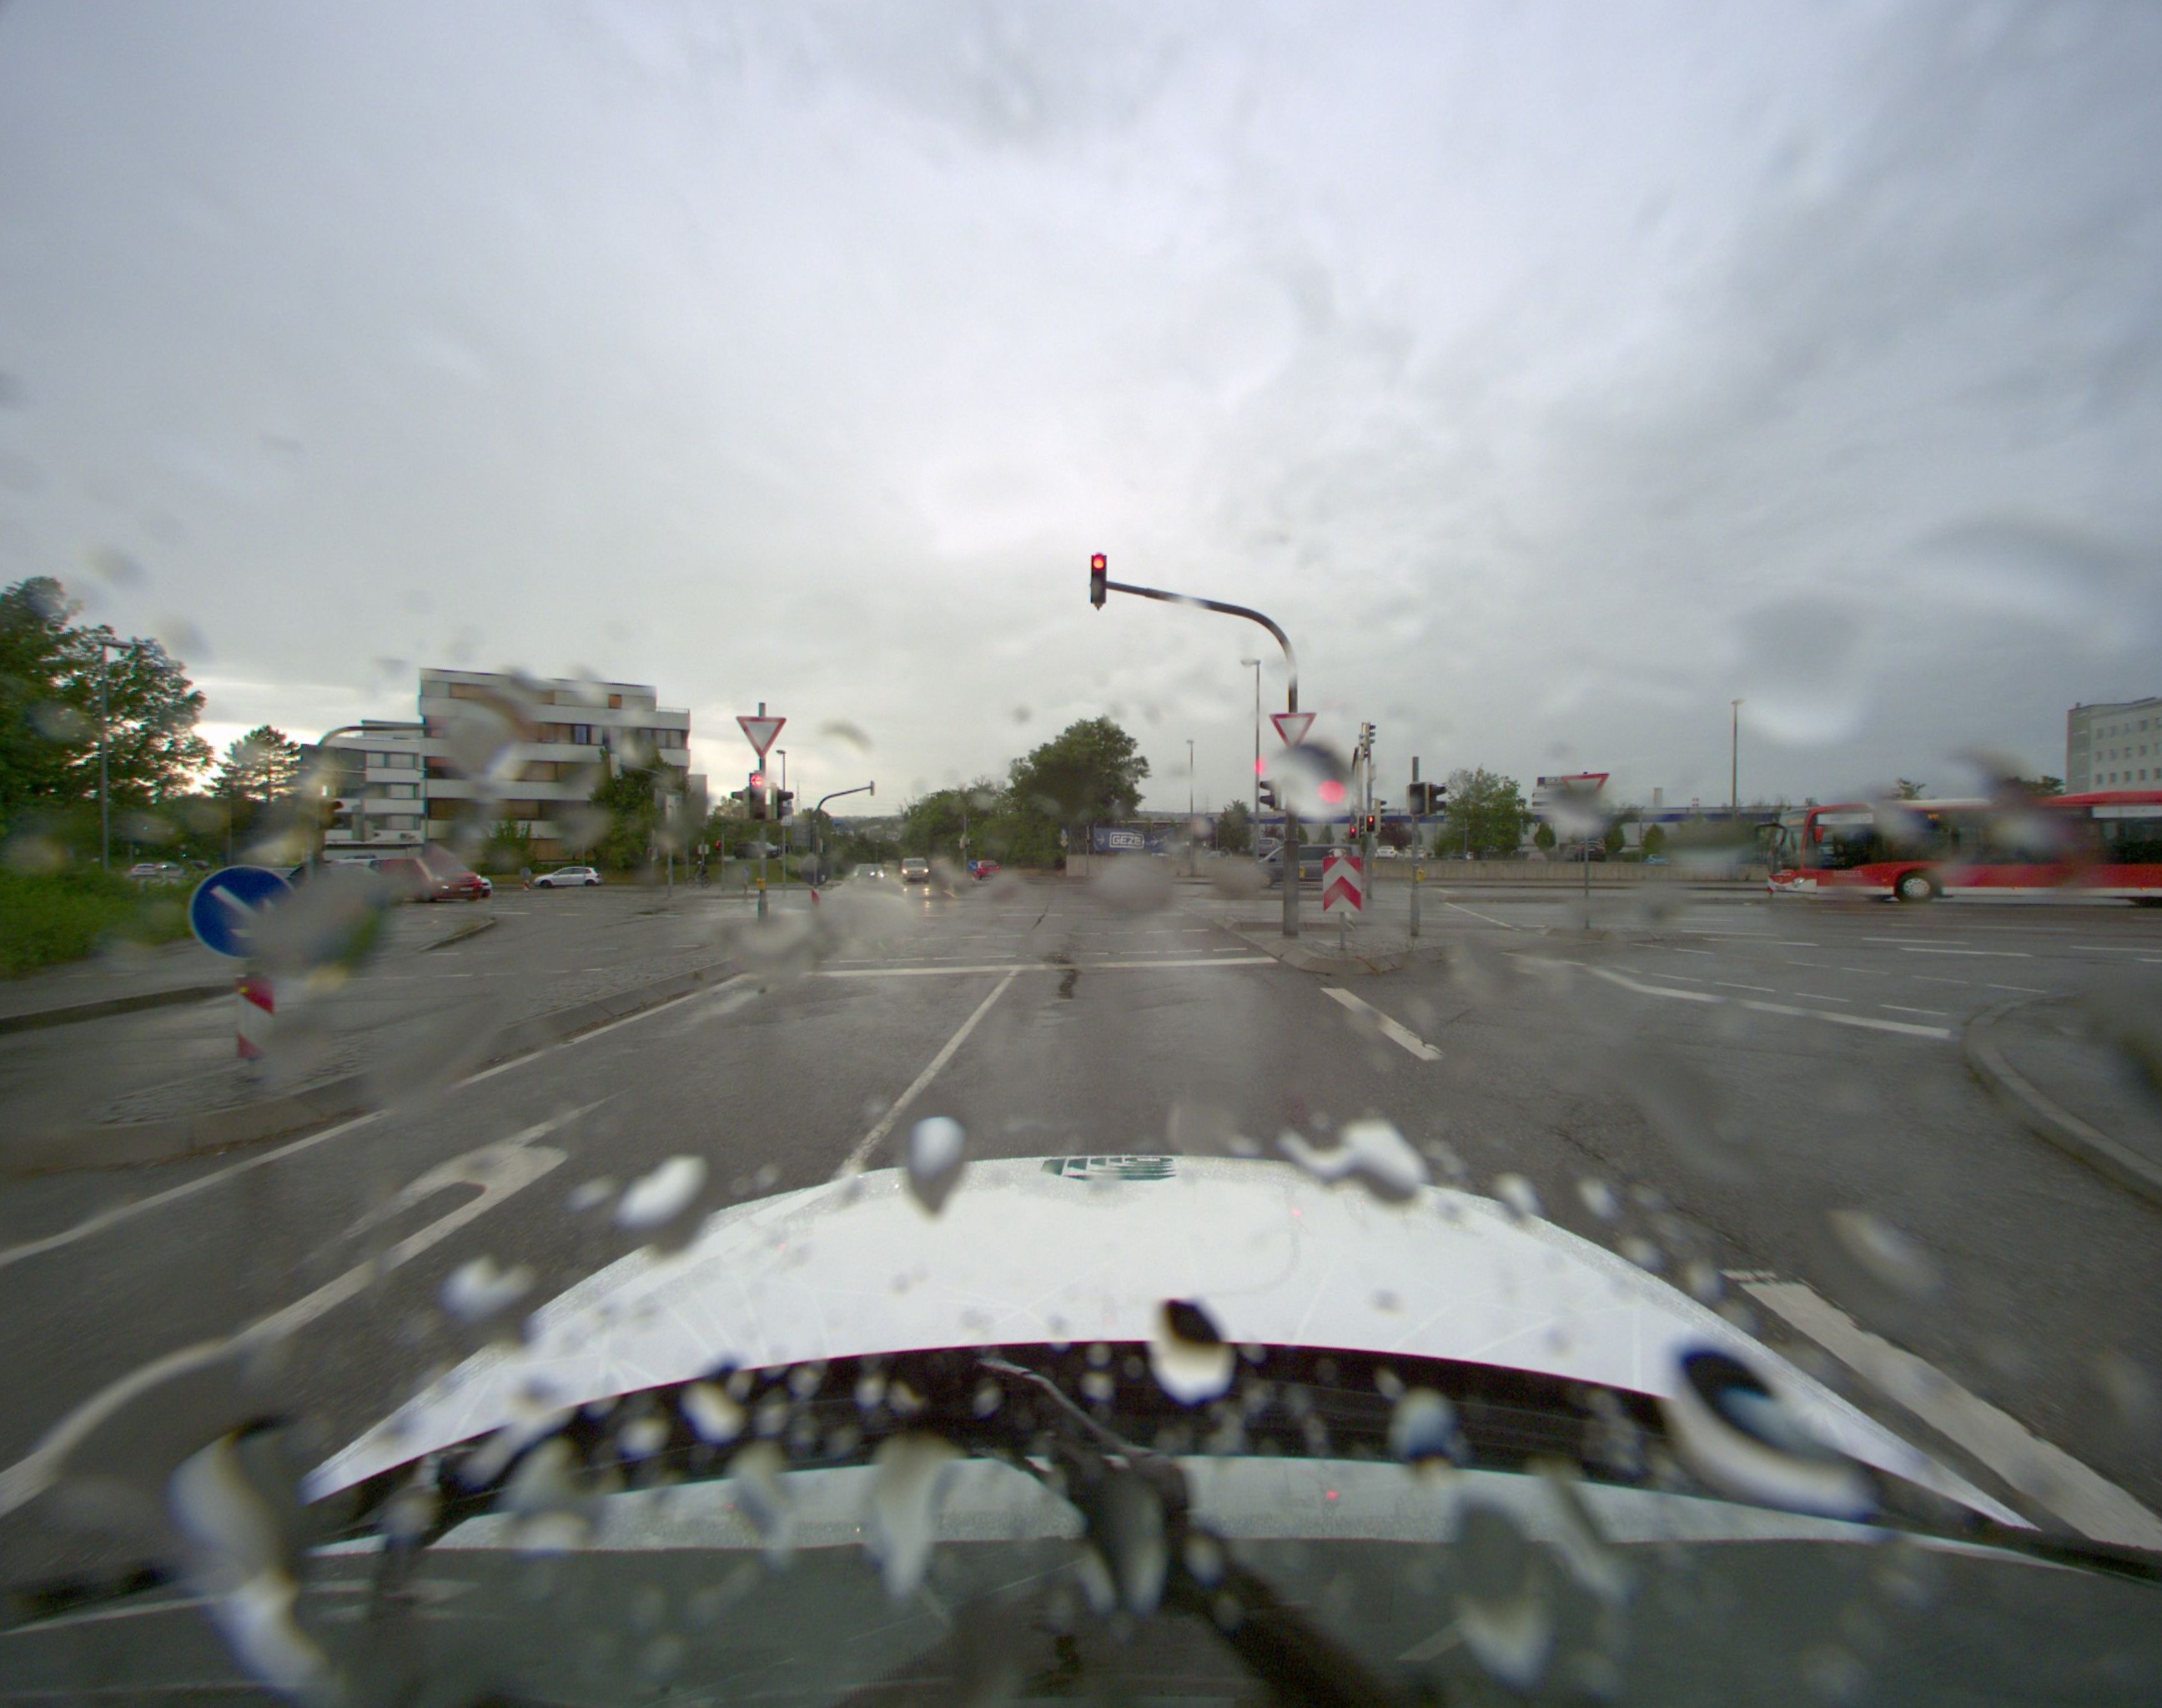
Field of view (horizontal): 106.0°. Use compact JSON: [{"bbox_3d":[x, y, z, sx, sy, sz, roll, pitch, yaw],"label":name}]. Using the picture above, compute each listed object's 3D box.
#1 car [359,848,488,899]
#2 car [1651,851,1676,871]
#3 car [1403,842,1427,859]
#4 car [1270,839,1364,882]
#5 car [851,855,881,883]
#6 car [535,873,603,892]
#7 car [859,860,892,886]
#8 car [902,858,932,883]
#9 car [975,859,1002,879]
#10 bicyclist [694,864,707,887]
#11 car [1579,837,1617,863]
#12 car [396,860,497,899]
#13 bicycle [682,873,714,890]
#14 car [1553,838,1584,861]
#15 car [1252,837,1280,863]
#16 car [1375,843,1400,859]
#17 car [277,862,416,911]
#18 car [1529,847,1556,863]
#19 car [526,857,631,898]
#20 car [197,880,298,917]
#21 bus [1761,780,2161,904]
[{"bbox_3d":[-27.704,0.803,34.315,4.732,2.013,2.010,-1,0,20],"label":"car"},{"bbox_3d":[53.646,0.629,74.980,1.749,1.715,3.671,0,0,38],"label":"car"},{"bbox_3d":[30.734,-0.314,74.802,1.976,1.478,4.022,0,0,23],"label":"car"},{"bbox_3d":[10.649,0.281,36.767,3.956,1.849,2.009,0,0,16],"label":"car"},{"bbox_3d":[-15.123,1.068,57.376,1.997,1.895,3.980,0,-1,-15],"label":"car"},{"bbox_3d":[-33.430,1.827,53.302,3.521,1.105,1.806,-1,0,-24],"label":"car"},{"bbox_3d":[-16.339,1.473,64.903,1.992,1.895,3.990,0,0,-7],"label":"car"},{"bbox_3d":[-11.418,1.134,56.703,1.994,1.618,3.985,0,0,-11],"label":"car"},{"bbox_3d":[-7.157,1.142,62.874,1.617,1.448,3.789,0,1,-14],"label":"car"},{"bbox_3d":[-24.510,1.367,52.513,0.542,1.446,0.603,-1,0,-3],"label":"bicyclist"},{"bbox_3d":[34.770,-0.263,54.719,1.749,1.715,3.671,0,0,39],"label":"car"},{"bbox_3d":[-29.571,1.162,37.964,3.952,1.684,2.011,-1,0,22],"label":"car"},{"bbox_3d":[-24.685,1.748,52.504,1.770,1.052,0.609,-1,0,-4],"label":"bicycle"},{"bbox_3d":[39.024,-0.369,65.124,1.699,1.715,3.671,0,0,38],"label":"car"},{"bbox_3d":[14.913,-0.330,65.572,1.979,2.013,4.016,0,0,15],"label":"car"},{"bbox_3d":[28.446,-0.302,75.540,1.976,1.478,4.022,0,0,23],"label":"car"},{"bbox_3d":[-28.016,1.233,31.090,4.577,1.679,2.045,-2,0,21],"label":"car"},{"bbox_3d":[44.950,0.058,79.268,1.749,1.479,3.671,0,0,38],"label":"car"},{"bbox_3d":[-23.797,1.095,38.599,4.107,1.840,2.010,0,0,19],"label":"car"},{"bbox_3d":[-33.844,1.770,33.086,3.419,1.387,1.690,0,0,22],"label":"car"},{"bbox_3d":[28.110,-0.349,23.873,12.170,3.321,3.091,1,1,22],"label":"bus"}]
